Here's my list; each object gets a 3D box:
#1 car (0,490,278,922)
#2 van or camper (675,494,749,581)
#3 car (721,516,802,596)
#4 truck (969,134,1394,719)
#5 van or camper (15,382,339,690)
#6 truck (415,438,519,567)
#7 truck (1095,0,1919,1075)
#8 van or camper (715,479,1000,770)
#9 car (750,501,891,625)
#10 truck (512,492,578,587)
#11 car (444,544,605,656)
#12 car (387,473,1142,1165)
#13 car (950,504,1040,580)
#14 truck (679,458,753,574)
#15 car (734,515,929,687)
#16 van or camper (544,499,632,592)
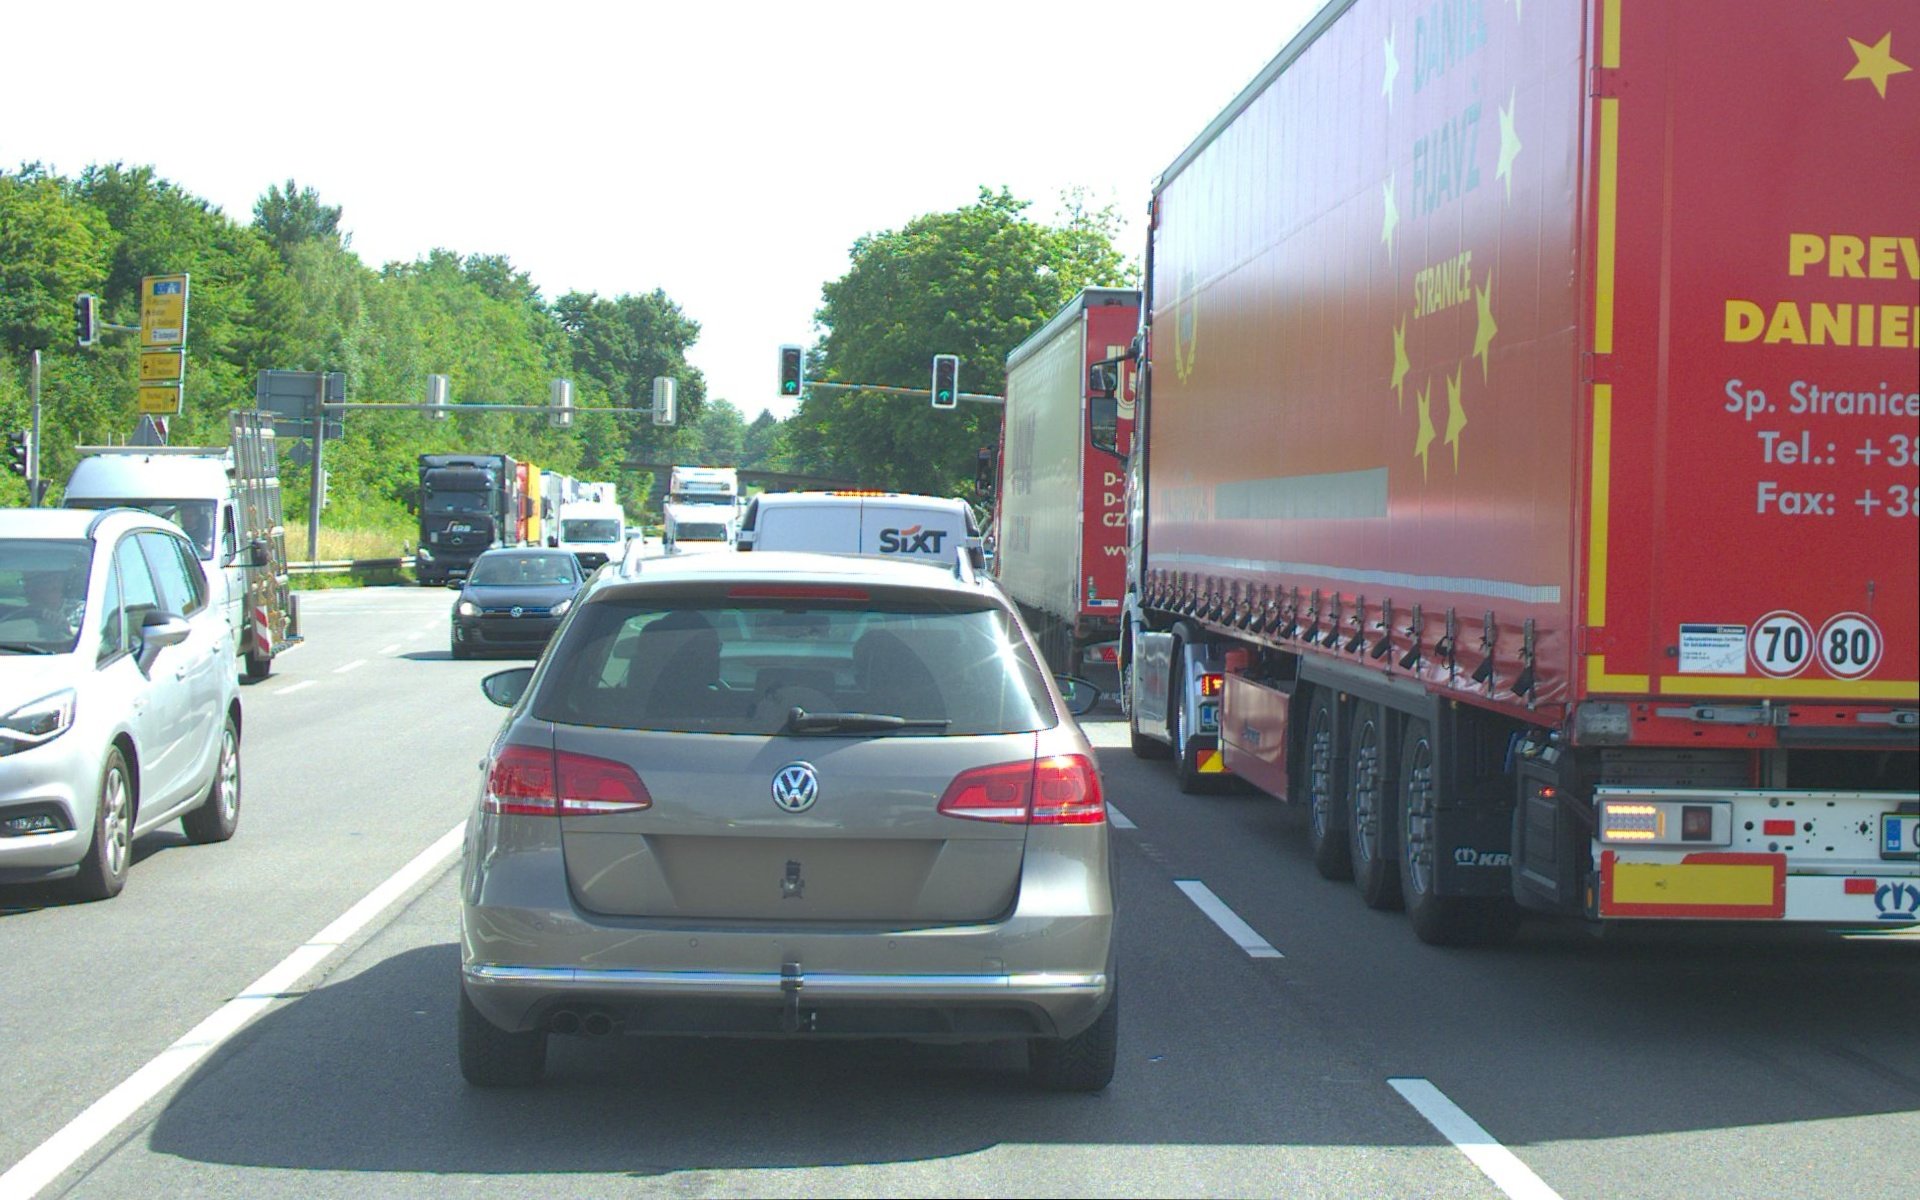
[{"bbox_3d":[-4.387,0.380,15.283,1.909,1.657,4.181,-1,1,-1],"label":"car"},{"bbox_3d":[-8.340,-2.078,116.193,2.224,2.831,5.711,2,0,-2],"label":"van or camper"},{"bbox_3d":[-4.921,-1.075,85.562,1.727,1.902,3.312,2,0,1],"label":"car"},{"bbox_3d":[2.028,-1.716,39.586,3.062,5.203,17.009,1,1,-2],"label":"truck"},{"bbox_3d":[-8.552,-0.710,38.183,2.207,3.045,5.903,3,1,-1],"label":"van or camper"},{"bbox_3d":[-14.911,-2.939,104.287,2.812,3.773,6.991,0,1,-6],"label":"truck"},{"bbox_3d":[2.867,-0.890,18.243,2.957,4.255,16.586,1,1,-2],"label":"truck"},{"bbox_3d":[-0.769,0.131,24.849,1.852,1.899,3.785,1,1,-3],"label":"van or camper"},{"bbox_3d":[-1.797,-0.473,45.098,1.727,1.514,3.312,2,0,-1],"label":"car"},{"bbox_3d":[-16.955,-2.500,140.826,2.532,3.773,6.991,0,1,-6],"label":"truck"},{"bbox_3d":[-5.742,-0.033,45.701,1.666,1.404,3.926,-1,1,-1],"label":"car"},{"bbox_3d":[-0.431,0.500,9.949,1.790,1.633,3.503,0,1,1],"label":"car"},{"bbox_3d":[0.729,-1.228,73.674,1.726,1.514,3.312,2,0,-2],"label":"car"},{"bbox_3d":[-9.253,-3.167,130.939,2.552,4.292,7.596,0,1,-2],"label":"truck"},{"bbox_3d":[-1.185,0.002,32.911,1.727,1.514,3.312,2,0,0],"label":"car"},{"bbox_3d":[-10.601,-1.572,98.269,2.173,2.542,4.171,1,1,-3],"label":"van or camper"}]
